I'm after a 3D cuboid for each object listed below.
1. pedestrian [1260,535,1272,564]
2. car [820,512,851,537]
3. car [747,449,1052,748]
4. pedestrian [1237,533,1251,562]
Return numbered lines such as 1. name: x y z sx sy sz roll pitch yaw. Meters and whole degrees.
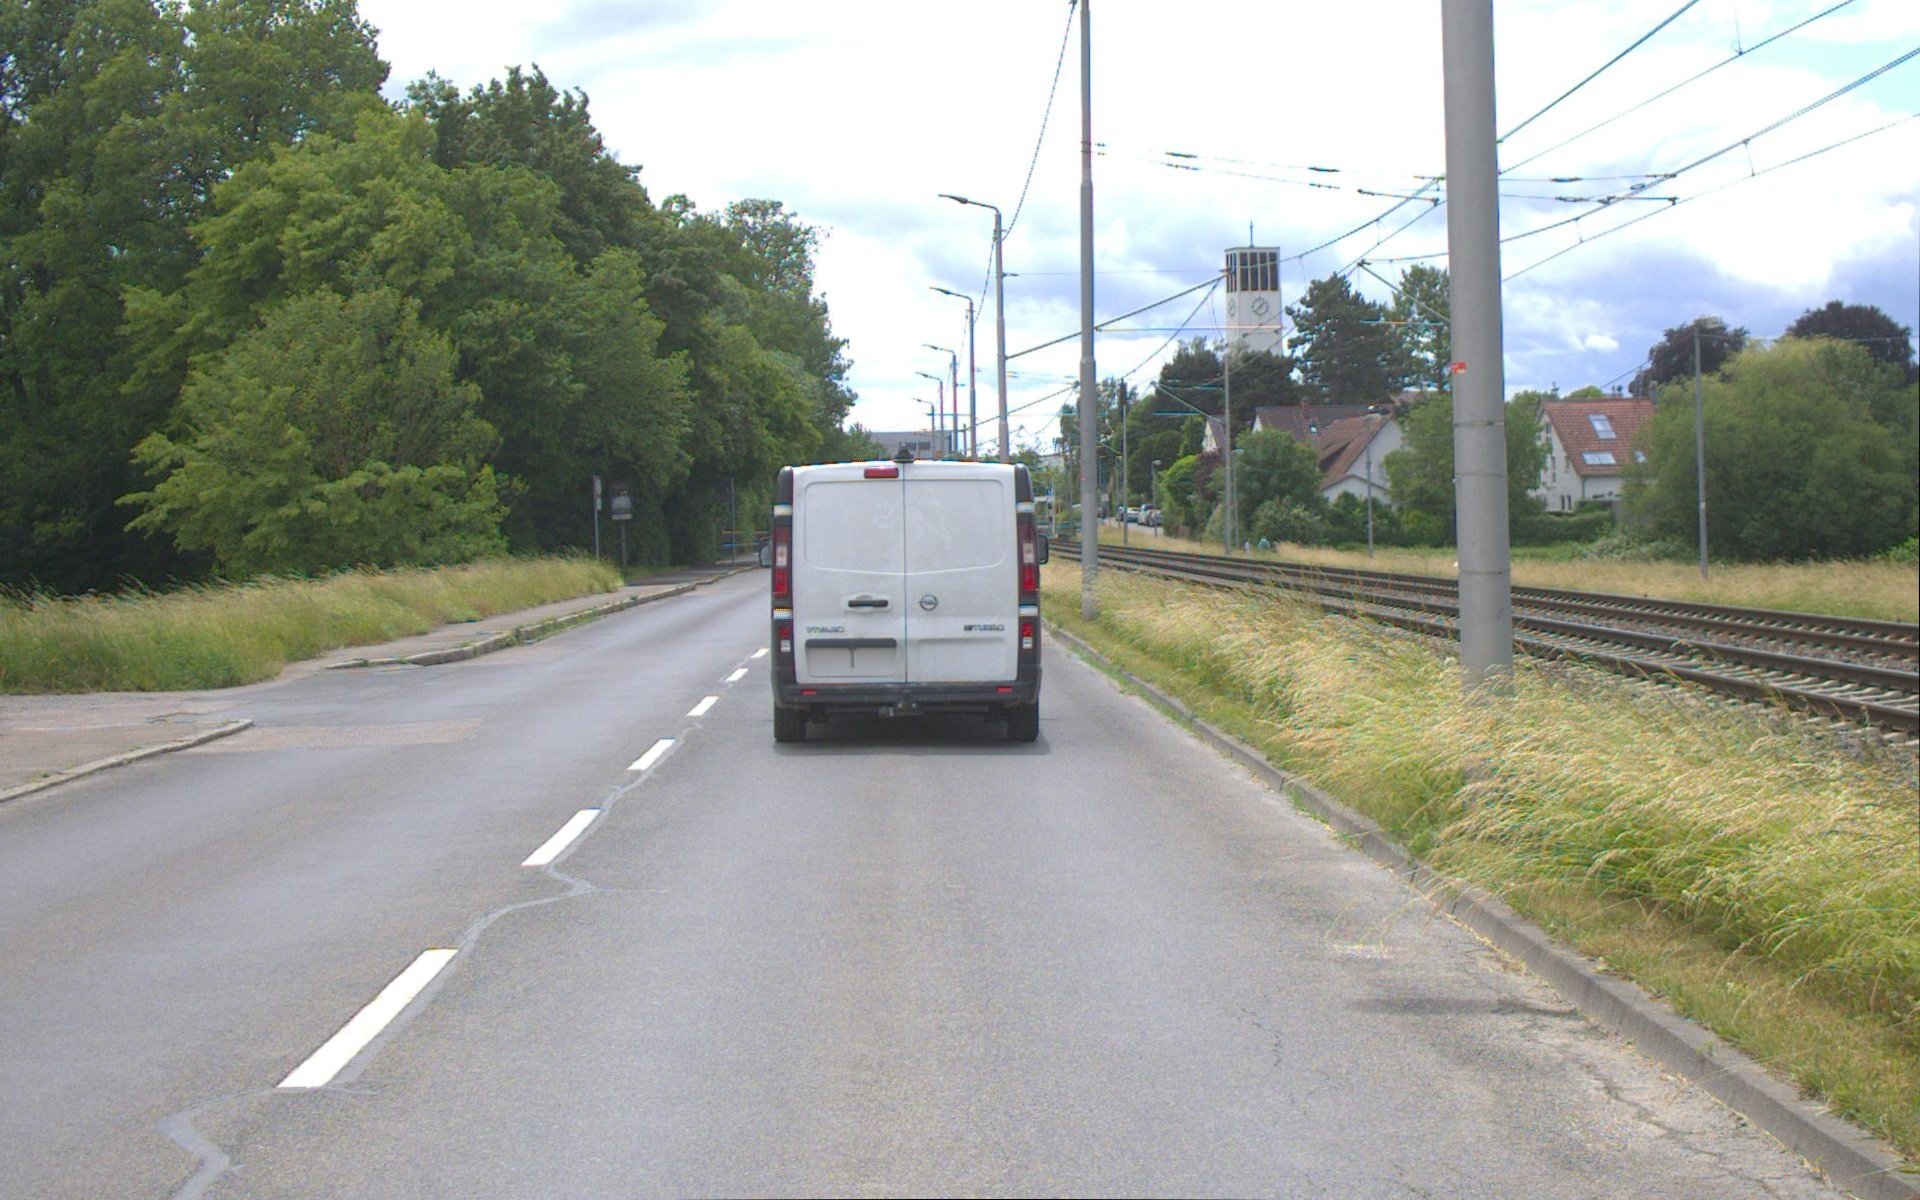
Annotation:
1. pedestrian: 15.887 -2.644 178.696 0.526 1.501 0.657 -1 1 -2
2. car: -9.038 -5.480 249.549 1.993 1.711 4.124 -2 1 0
3. car: -0.474 -0.046 24.845 1.993 1.950 4.000 -1 1 -2
4. pedestrian: 14.942 -2.747 181.034 0.656 1.501 0.657 -1 1 -2
